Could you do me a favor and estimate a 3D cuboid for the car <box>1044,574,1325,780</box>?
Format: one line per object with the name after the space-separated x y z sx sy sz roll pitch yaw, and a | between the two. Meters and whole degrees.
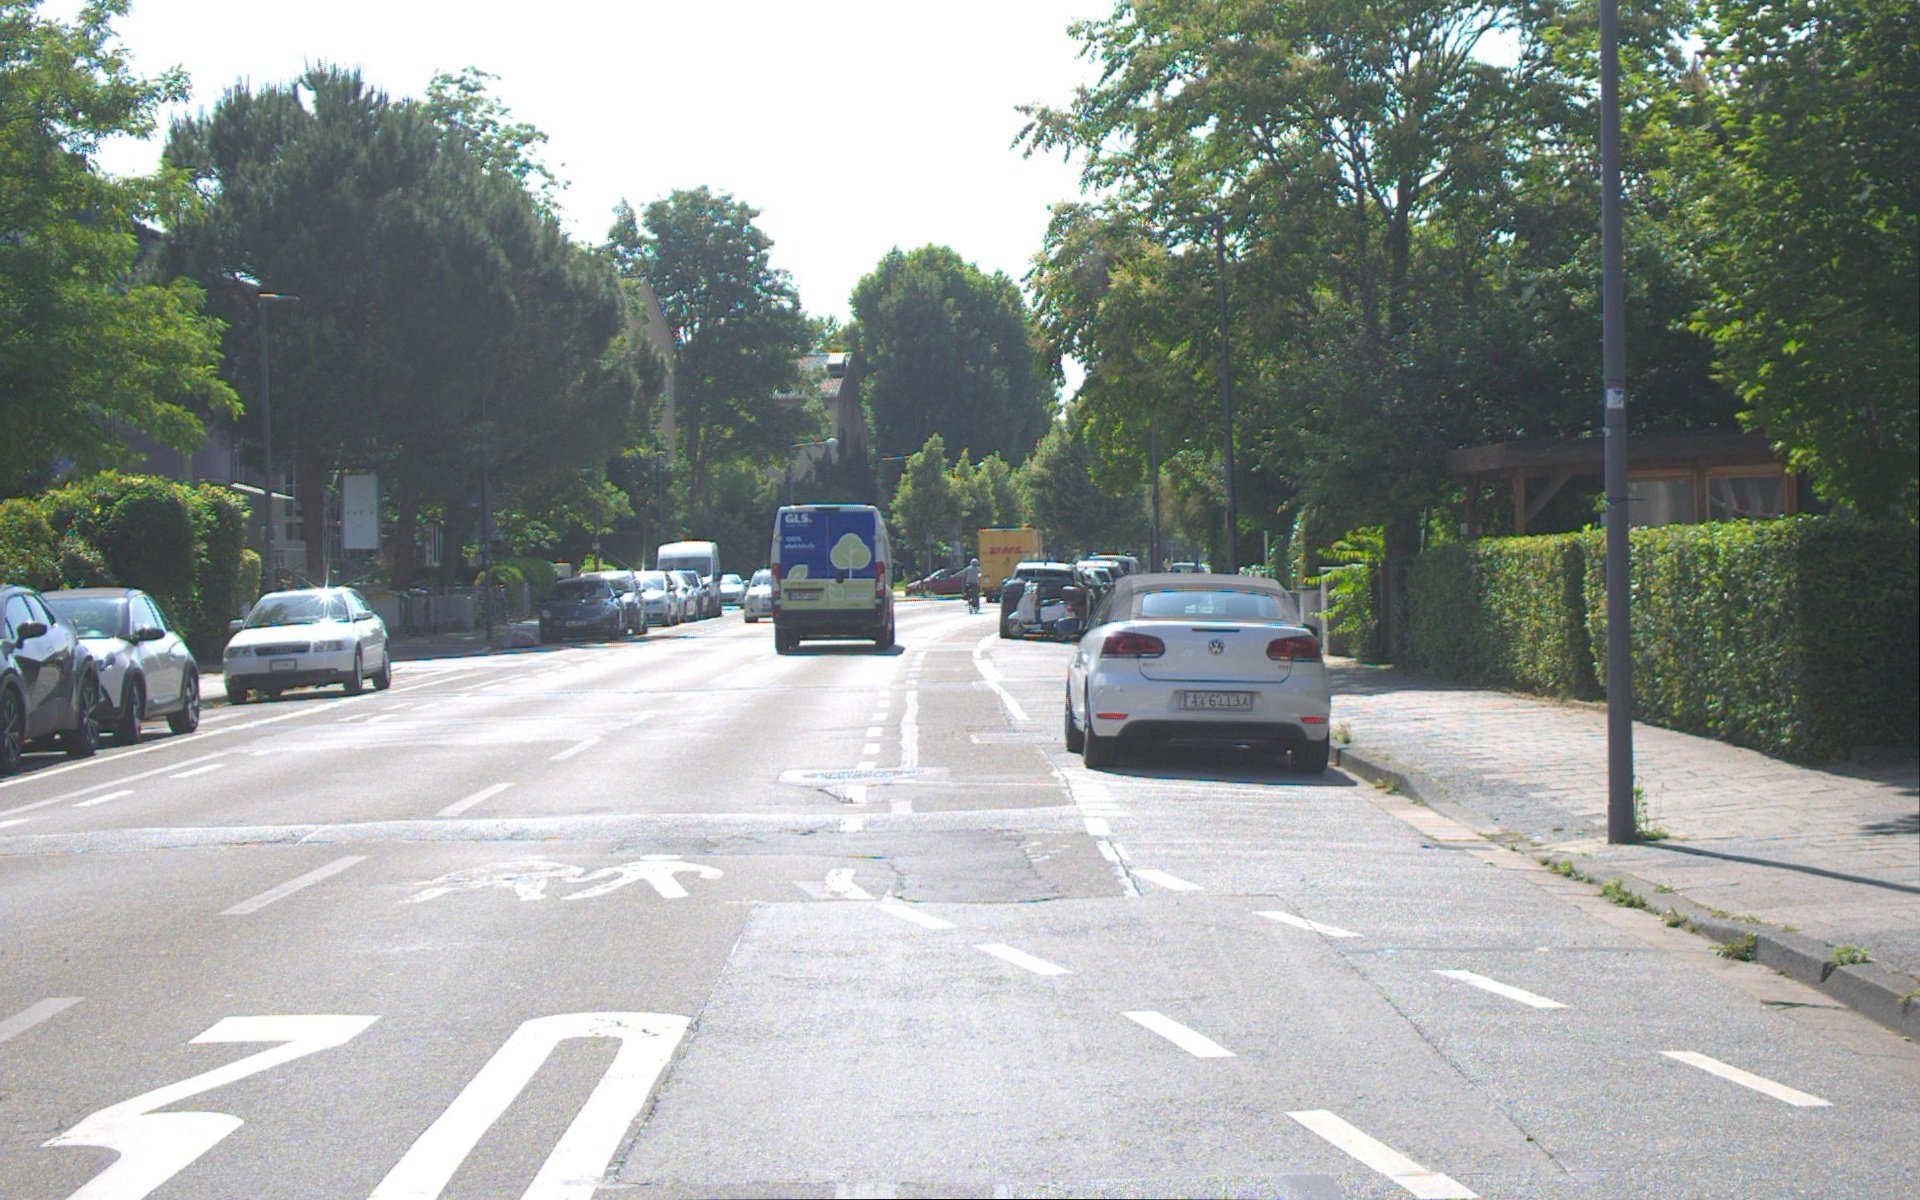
1.604 0.520 25.825 1.740 1.397 4.074 1 0 -1 | car

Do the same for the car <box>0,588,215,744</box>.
-8.698 0.612 33.947 1.785 1.435 4.000 -1 0 0 | car

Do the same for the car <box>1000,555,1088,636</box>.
1.813 -0.098 73.753 1.785 1.632 4.470 1 0 2 | car

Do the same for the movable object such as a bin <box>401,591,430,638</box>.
-13.063 0.353 82.517 0.544 1.107 0.584 -1 0 6 | movable object such as a bin

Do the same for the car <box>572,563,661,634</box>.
-8.579 -0.058 86.103 1.908 1.671 4.259 -2 1 -2 | car

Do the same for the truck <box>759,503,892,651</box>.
-2.398 -0.384 62.411 2.272 2.563 4.392 -1 0 -1 | truck

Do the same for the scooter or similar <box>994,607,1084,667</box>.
1.620 0.761 71.023 1.796 1.150 0.718 3 0 45 | scooter or similar

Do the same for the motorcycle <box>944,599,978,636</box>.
0.034 0.547 107.941 1.056 1.119 2.992 -1 0 0 | motorcycle

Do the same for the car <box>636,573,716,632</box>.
-7.984 0.083 96.980 1.835 1.590 3.774 -1 -1 1 | car

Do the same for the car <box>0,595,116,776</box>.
-8.550 0.710 28.908 1.785 1.435 4.110 -2 0 1 | car

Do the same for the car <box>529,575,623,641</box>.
-8.939 0.177 80.347 1.781 1.455 4.086 -2 0 -1 | car

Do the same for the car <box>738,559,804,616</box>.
-5.412 -0.340 98.681 1.732 1.536 4.000 -2 0 -1 | car

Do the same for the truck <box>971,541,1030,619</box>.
1.602 -0.747 134.554 2.214 2.936 5.686 -1 0 1 | truck

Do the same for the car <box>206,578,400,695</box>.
-8.698 0.451 45.808 1.785 1.435 4.000 -1 1 0 | car

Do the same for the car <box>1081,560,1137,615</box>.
4.701 -0.378 108.034 1.700 1.671 3.774 -1 0 3 | car

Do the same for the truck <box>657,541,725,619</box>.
-9.003 -0.656 115.344 2.080 2.529 5.467 -1 0 -3 | truck

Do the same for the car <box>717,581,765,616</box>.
-8.663 -0.069 136.057 1.754 1.339 3.654 -1 0 -2 | car

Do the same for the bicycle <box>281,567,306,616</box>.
-16.721 -0.219 86.199 0.536 1.177 1.447 -1 2 -13 | bicycle

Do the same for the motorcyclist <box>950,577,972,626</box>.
0.036 0.043 107.863 0.672 1.513 0.652 -1 0 0 | motorcyclist
